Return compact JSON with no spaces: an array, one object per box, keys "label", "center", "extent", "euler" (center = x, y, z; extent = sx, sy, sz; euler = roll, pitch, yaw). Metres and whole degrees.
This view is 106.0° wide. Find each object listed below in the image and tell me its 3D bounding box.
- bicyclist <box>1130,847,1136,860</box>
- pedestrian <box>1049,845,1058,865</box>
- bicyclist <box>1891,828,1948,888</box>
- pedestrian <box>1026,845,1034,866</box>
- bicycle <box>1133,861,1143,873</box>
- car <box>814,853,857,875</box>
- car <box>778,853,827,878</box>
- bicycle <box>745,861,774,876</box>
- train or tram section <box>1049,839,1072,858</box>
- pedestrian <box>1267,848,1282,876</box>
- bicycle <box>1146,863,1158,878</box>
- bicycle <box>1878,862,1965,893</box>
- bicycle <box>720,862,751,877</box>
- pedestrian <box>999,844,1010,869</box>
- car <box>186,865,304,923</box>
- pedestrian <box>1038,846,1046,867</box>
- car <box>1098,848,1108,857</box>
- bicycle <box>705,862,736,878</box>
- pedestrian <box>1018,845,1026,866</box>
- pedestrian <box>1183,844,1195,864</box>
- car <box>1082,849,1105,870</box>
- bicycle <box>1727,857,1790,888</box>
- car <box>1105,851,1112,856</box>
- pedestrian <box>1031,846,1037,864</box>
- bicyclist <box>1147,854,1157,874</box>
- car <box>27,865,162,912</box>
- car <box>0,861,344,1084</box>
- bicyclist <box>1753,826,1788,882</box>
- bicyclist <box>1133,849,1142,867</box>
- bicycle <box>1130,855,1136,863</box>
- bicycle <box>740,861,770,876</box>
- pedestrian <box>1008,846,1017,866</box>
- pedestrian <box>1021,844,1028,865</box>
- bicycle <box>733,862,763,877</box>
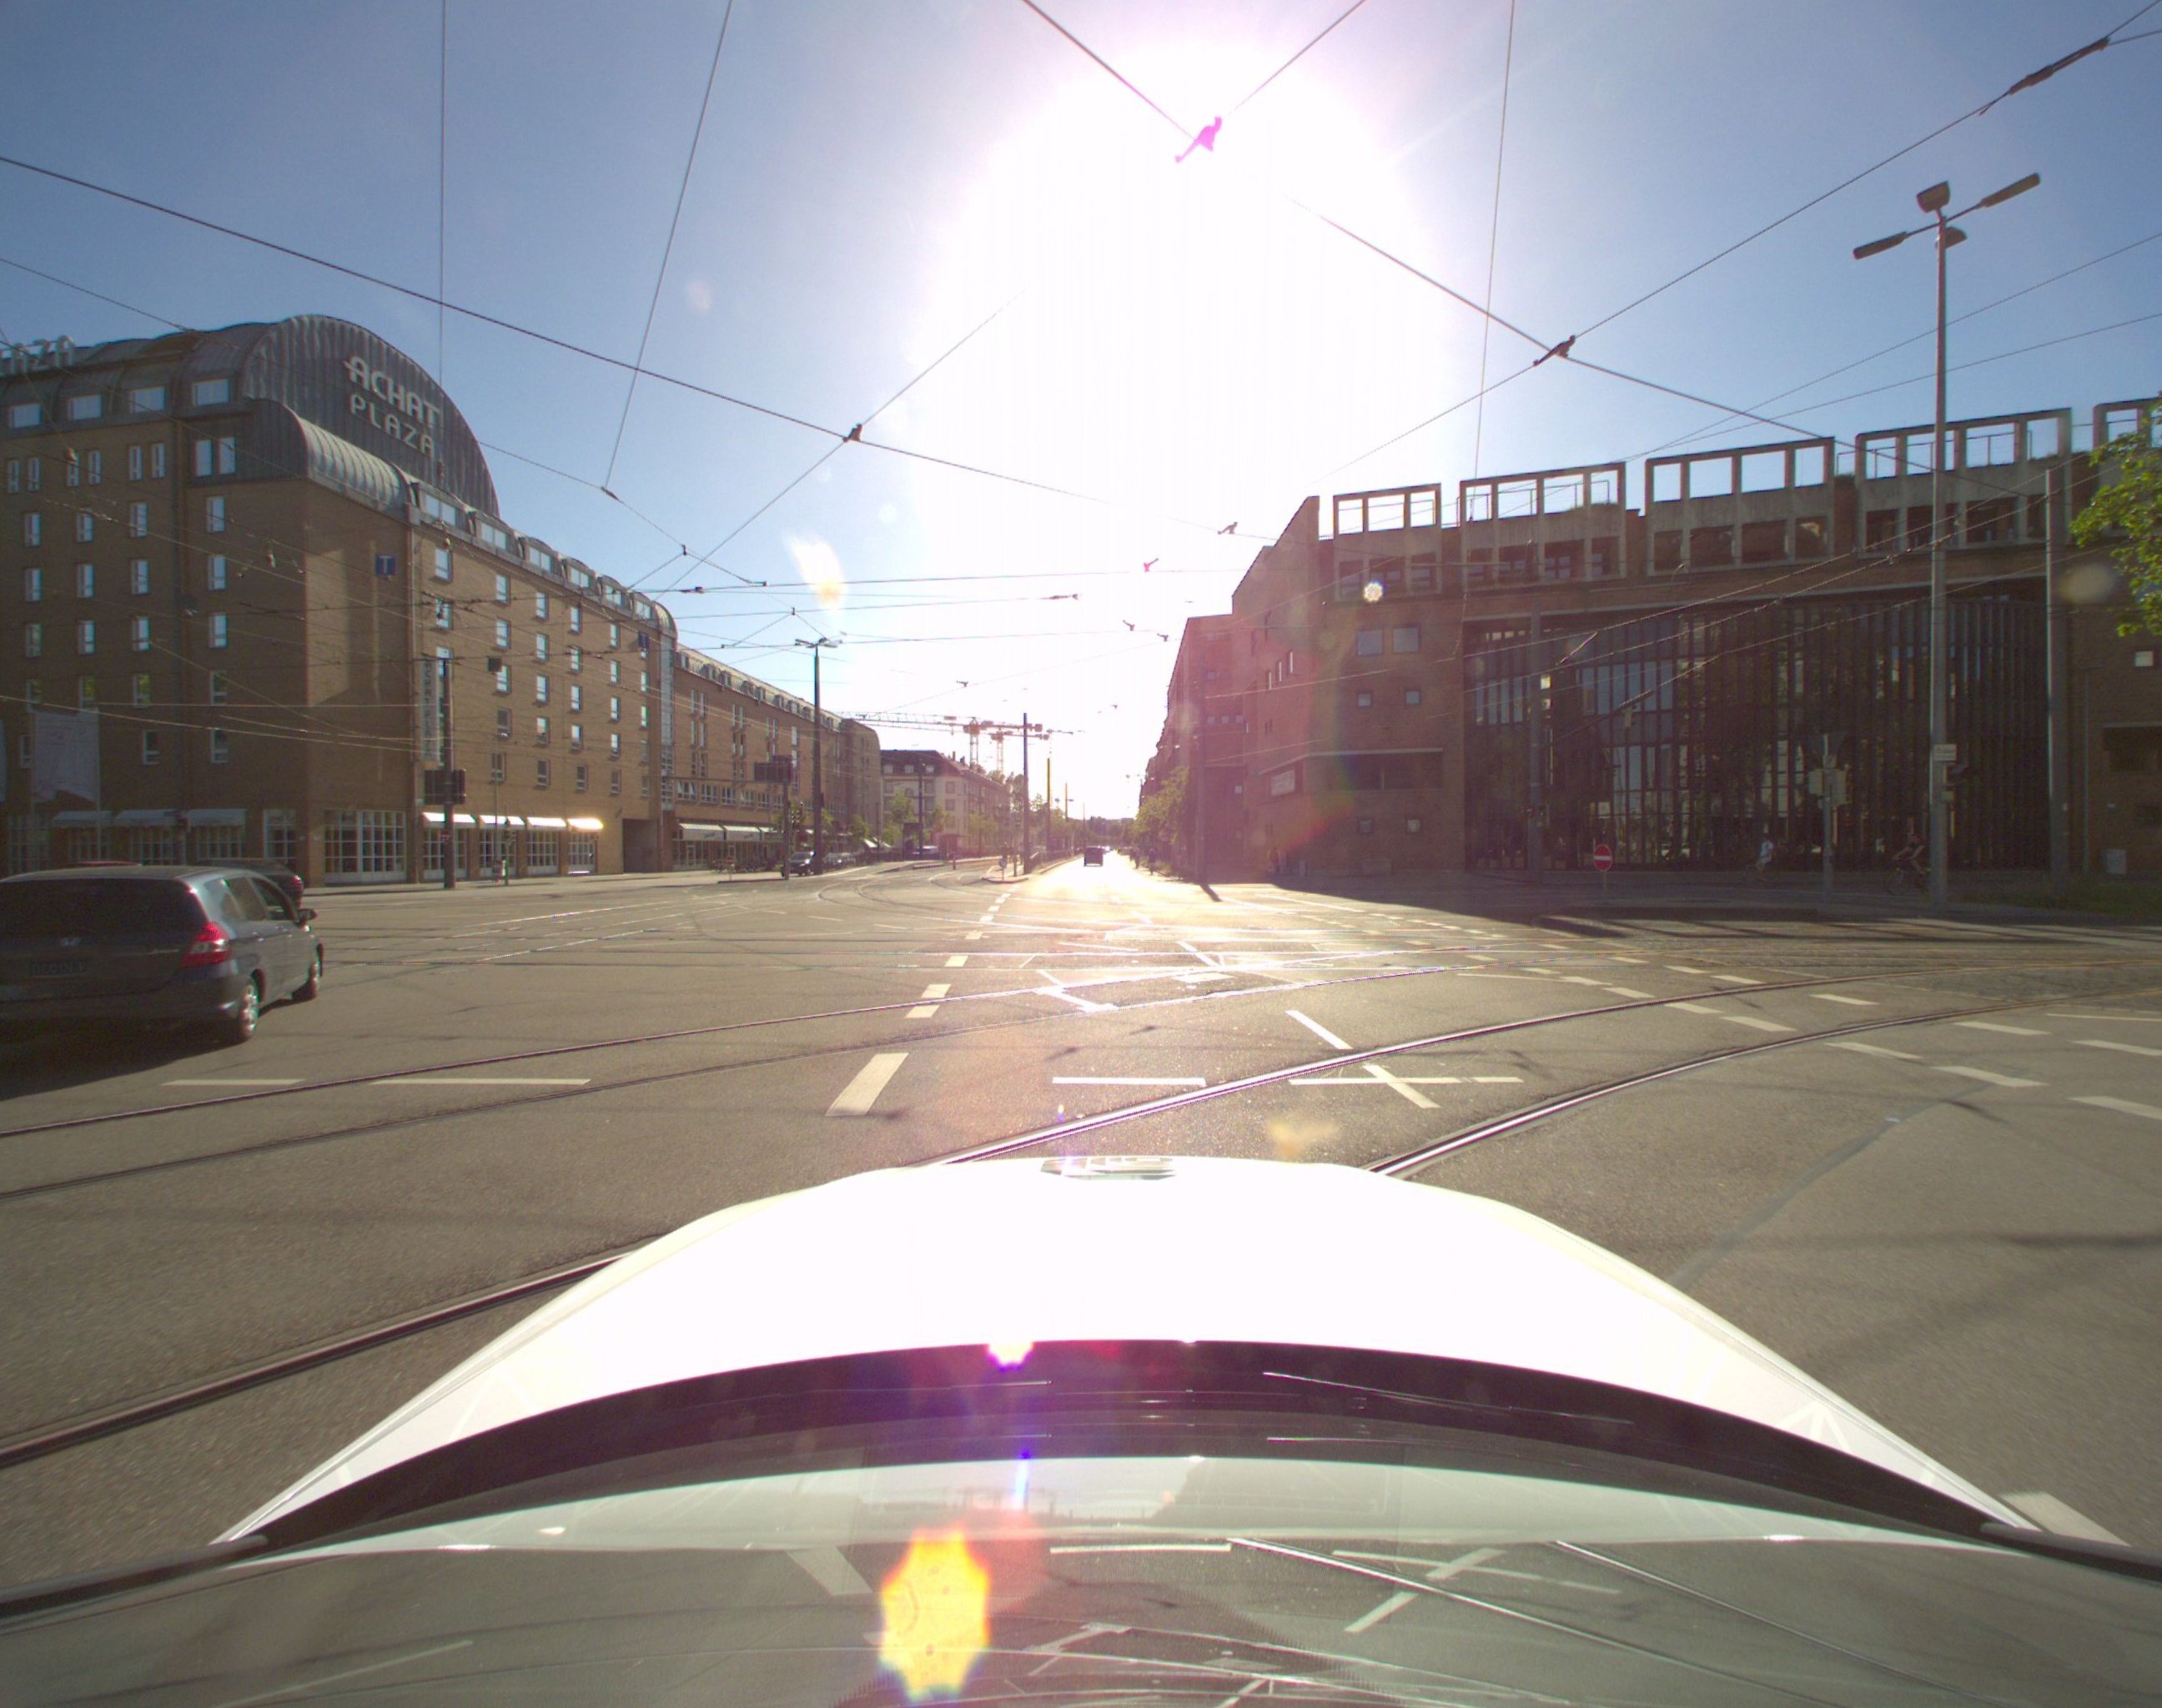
[{"label":"bicyclist","center":[6.333,-0.075,99.292],"extent":[0.665,1.527,0.706],"euler":[0,0,0]},{"label":"pedestrian","center":[-2.507,0.103,73.817],"extent":[0.718,1.735,0.599],"euler":[-1,0,-17]},{"label":"bicyclist","center":[23.353,0.103,22.695],"extent":[0.859,1.630,0.672],"euler":[-1,0,3]},{"label":"pedestrian","center":[-4.056,0.111,64.698],"extent":[0.537,1.655,0.896],"euler":[-1,0,0]},{"label":"bicycle","center":[4.766,1.060,68.641],"extent":[0.665,0.985,2.585],"euler":[0,0,0]},{"label":"car","center":[-17.988,0.720,59.852],"extent":[1.603,1.398,4.230],"euler":[-4,1,2]},{"label":"car","center":[-18.169,0.703,53.310],"extent":[1.603,1.398,3.922],"euler":[-4,1,2]},{"label":"bicycle","center":[-29.456,1.331,74.611],"extent":[2.468,1.310,0.736],"euler":[-1,0,11]},{"label":"train or tram section","center":[-3.407,-0.971,138.153],"extent":[2.315,3.003,13.178],"euler":[0,0,5]},{"label":"pedestrian","center":[11.070,0.437,46.592],"extent":[0.616,1.563,0.986],"euler":[-1,0,-1]},{"label":"bicycle","center":[4.826,1.111,55.657],"extent":[0.601,0.985,2.314],"euler":[0,0,0]},{"label":"bicycle","center":[23.409,0.653,22.699],"extent":[1.661,0.806,0.674],"euler":[-1,0,3]},{"label":"bicycle","center":[-30.184,1.348,71.200],"extent":[2.468,1.310,0.736],"euler":[-1,0,11]},{"label":"pedestrian","center":[-5.169,0.158,55.106],"extent":[0.612,1.669,0.864],"euler":[-3,1,-1]},{"label":"car","center":[-23.534,1.045,22.873],"extent":[4.462,1.449,1.743],"euler":[-1,0,37]},{"label":"pedestrian","center":[-3.132,0.173,65.160],"extent":[0.537,1.655,0.706],"euler":[-1,0,0]},{"label":"car","center":[4.474,-0.355,168.791],"extent":[1.987,1.728,3.999],"euler":[-1,0,0]},{"label":"bicycle","center":[-30.892,1.365,69.840],"extent":[2.468,1.310,0.736],"euler":[-1,0,11]},{"label":"pedestrian","center":[-4.692,0.122,64.670],"extent":[0.508,1.655,0.761],"euler":[-1,0,0]},{"label":"pedestrian","center":[9.039,0.005,68.449],"extent":[0.877,1.717,0.931],"euler":[-1,0,0]},{"label":"car","center":[1.146,0.517,76.249],"extent":[1.987,1.948,3.999],"euler":[-1,0,0]},{"label":"bicycle","center":[23.384,0.630,28.110],"extent":[1.666,0.994,0.672],"euler":[-1,0,-5]},{"label":"car","center":[7.860,-0.169,231.176],"extent":[1.986,1.420,4.002],"euler":[-1,0,2]},{"label":"pedestrian","center":[-4.260,0.096,73.888],"extent":[0.537,1.655,0.633],"euler":[-1,0,0]},{"label":"bicyclist","center":[4.821,0.668,55.187],"extent":[0.591,1.335,0.933],"euler":[0,0,0]},{"label":"car","center":[-33.088,1.131,27.325],"extent":[3.545,1.449,1.666],"euler":[-1,0,18]},{"label":"car","center":[-8.365,0.866,7.618],"extent":[1.739,1.564,3.637],"euler":[-1,0,-35]},{"label":"bicyclist","center":[23.793,-0.007,28.117],"extent":[0.604,1.884,0.650],"euler":[-1,0,-3]},{"label":"bicyclist","center":[4.763,0.311,68.555],"extent":[0.665,1.527,0.706],"euler":[0,0,0]},{"label":"bicycle","center":[6.343,0.646,99.364],"extent":[0.665,0.985,2.585],"euler":[0,0,0]},{"label":"bicycle","center":[-29.550,1.337,73.784],"extent":[2.468,1.310,0.736],"euler":[-1,0,11]},{"label":"pedestrian","center":[-5.443,0.178,65.064],"extent":[0.598,1.566,0.914],"euler":[-1,0,0]},{"label":"pedestrian","center":[-4.780,0.072,69.112],"extent":[0.537,1.773,0.633],"euler":[-1,0,0]},{"label":"bicycle","center":[-29.707,1.340,72.694],"extent":[2.468,1.310,0.736],"euler":[-1,0,11]}]
